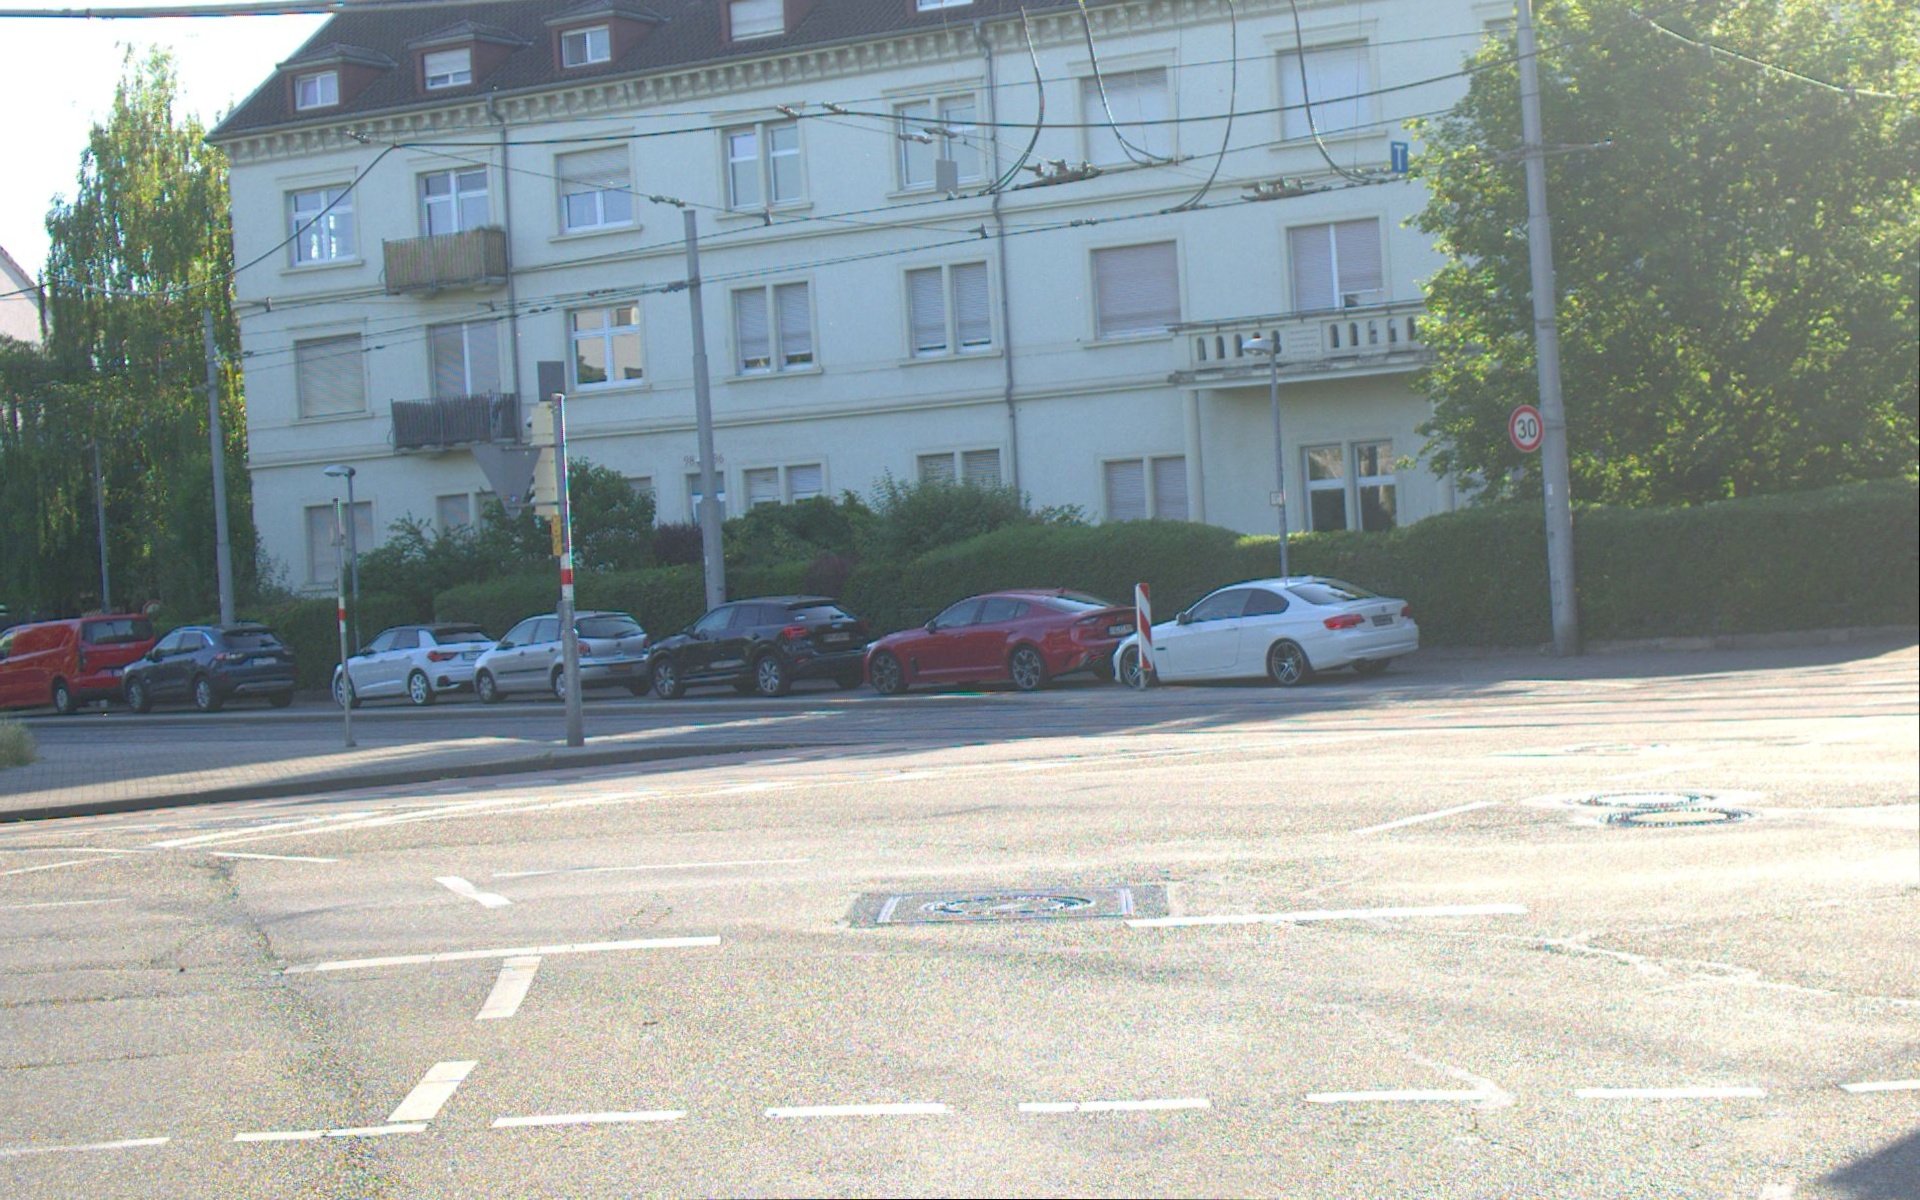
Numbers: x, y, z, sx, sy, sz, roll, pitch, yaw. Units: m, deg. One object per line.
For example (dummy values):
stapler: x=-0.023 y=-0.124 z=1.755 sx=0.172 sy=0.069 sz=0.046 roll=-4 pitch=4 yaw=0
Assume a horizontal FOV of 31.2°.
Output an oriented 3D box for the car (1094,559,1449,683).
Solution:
car: x=4.105 y=0.298 z=45.806 sx=1.926 sy=1.371 sz=4.494 roll=-6 pitch=3 yaw=-42

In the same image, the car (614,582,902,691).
car: x=-3.244 y=0.594 z=54.312 sx=1.982 sy=1.442 sz=4.703 roll=-6 pitch=2 yaw=-41

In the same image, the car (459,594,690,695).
car: x=-6.478 y=0.760 z=57.558 sx=1.982 sy=1.442 sz=3.717 roll=-6 pitch=2 yaw=-41

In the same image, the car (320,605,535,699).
car: x=-9.490 y=0.938 z=61.052 sx=1.840 sy=1.442 sz=3.957 roll=-6 pitch=2 yaw=-41

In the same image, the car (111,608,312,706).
car: x=-14.590 y=1.127 z=66.888 sx=1.840 sy=1.662 sz=4.368 roll=-6 pitch=2 yaw=-41

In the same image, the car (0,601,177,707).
car: x=-18.625 y=1.157 z=71.930 sx=2.051 sy=1.955 sz=5.148 roll=-6 pitch=2 yaw=-41

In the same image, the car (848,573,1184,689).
car: x=0.766 y=0.463 z=49.802 sx=4.702 sy=1.371 sz=1.982 roll=-3 pitch=3 yaw=44
